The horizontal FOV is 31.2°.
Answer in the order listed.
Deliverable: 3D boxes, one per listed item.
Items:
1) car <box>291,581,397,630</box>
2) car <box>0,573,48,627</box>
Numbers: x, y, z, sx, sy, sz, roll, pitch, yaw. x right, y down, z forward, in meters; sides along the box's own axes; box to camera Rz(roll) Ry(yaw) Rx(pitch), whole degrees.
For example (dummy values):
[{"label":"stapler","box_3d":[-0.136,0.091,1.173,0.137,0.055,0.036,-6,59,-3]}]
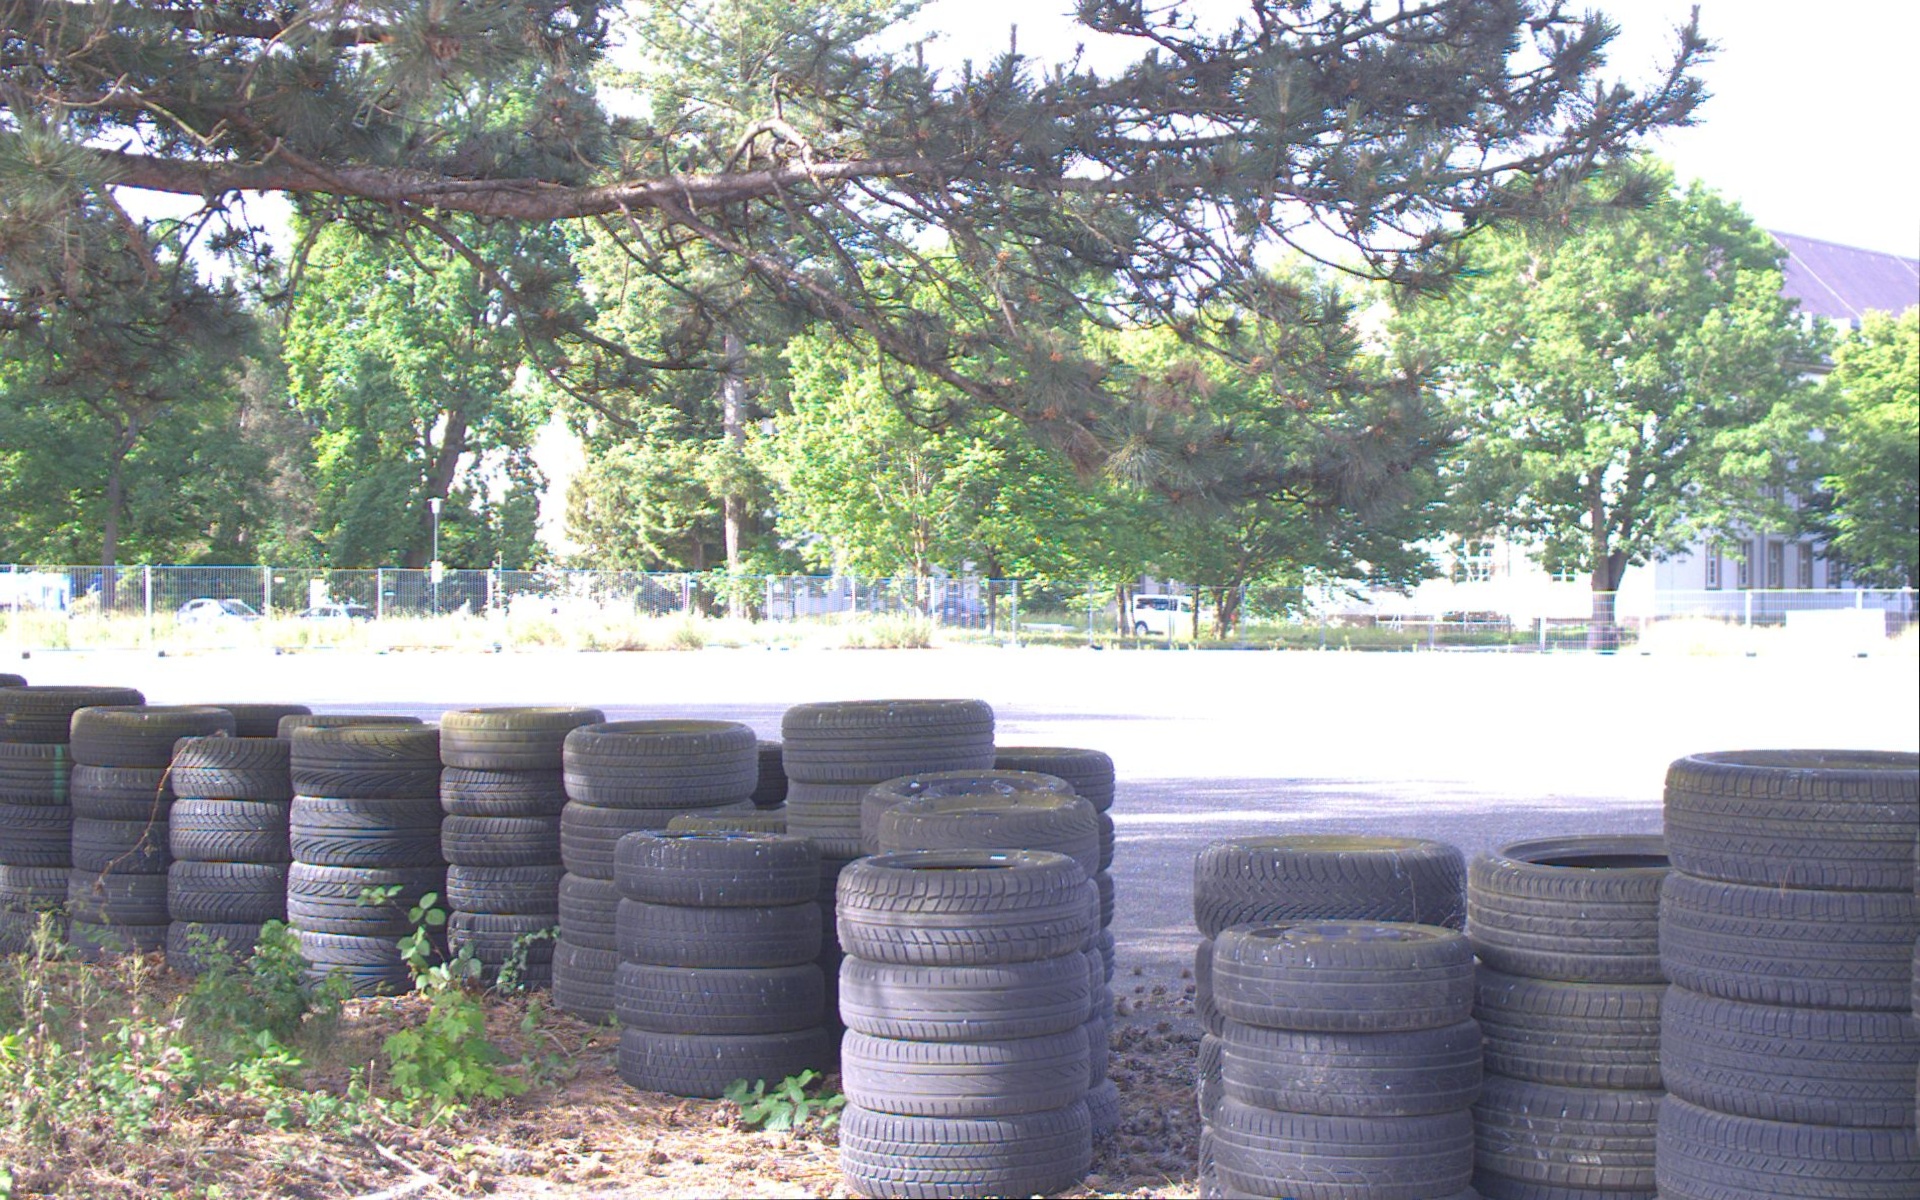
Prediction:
[{"label":"car","box_3d":[-22.468,0.193,125.345,1.994,1.744,3.998,0,0,-41]},{"label":"car","box_3d":[-32.046,-0.015,113.538,3.997,1.744,1.995,0,0,45]}]
